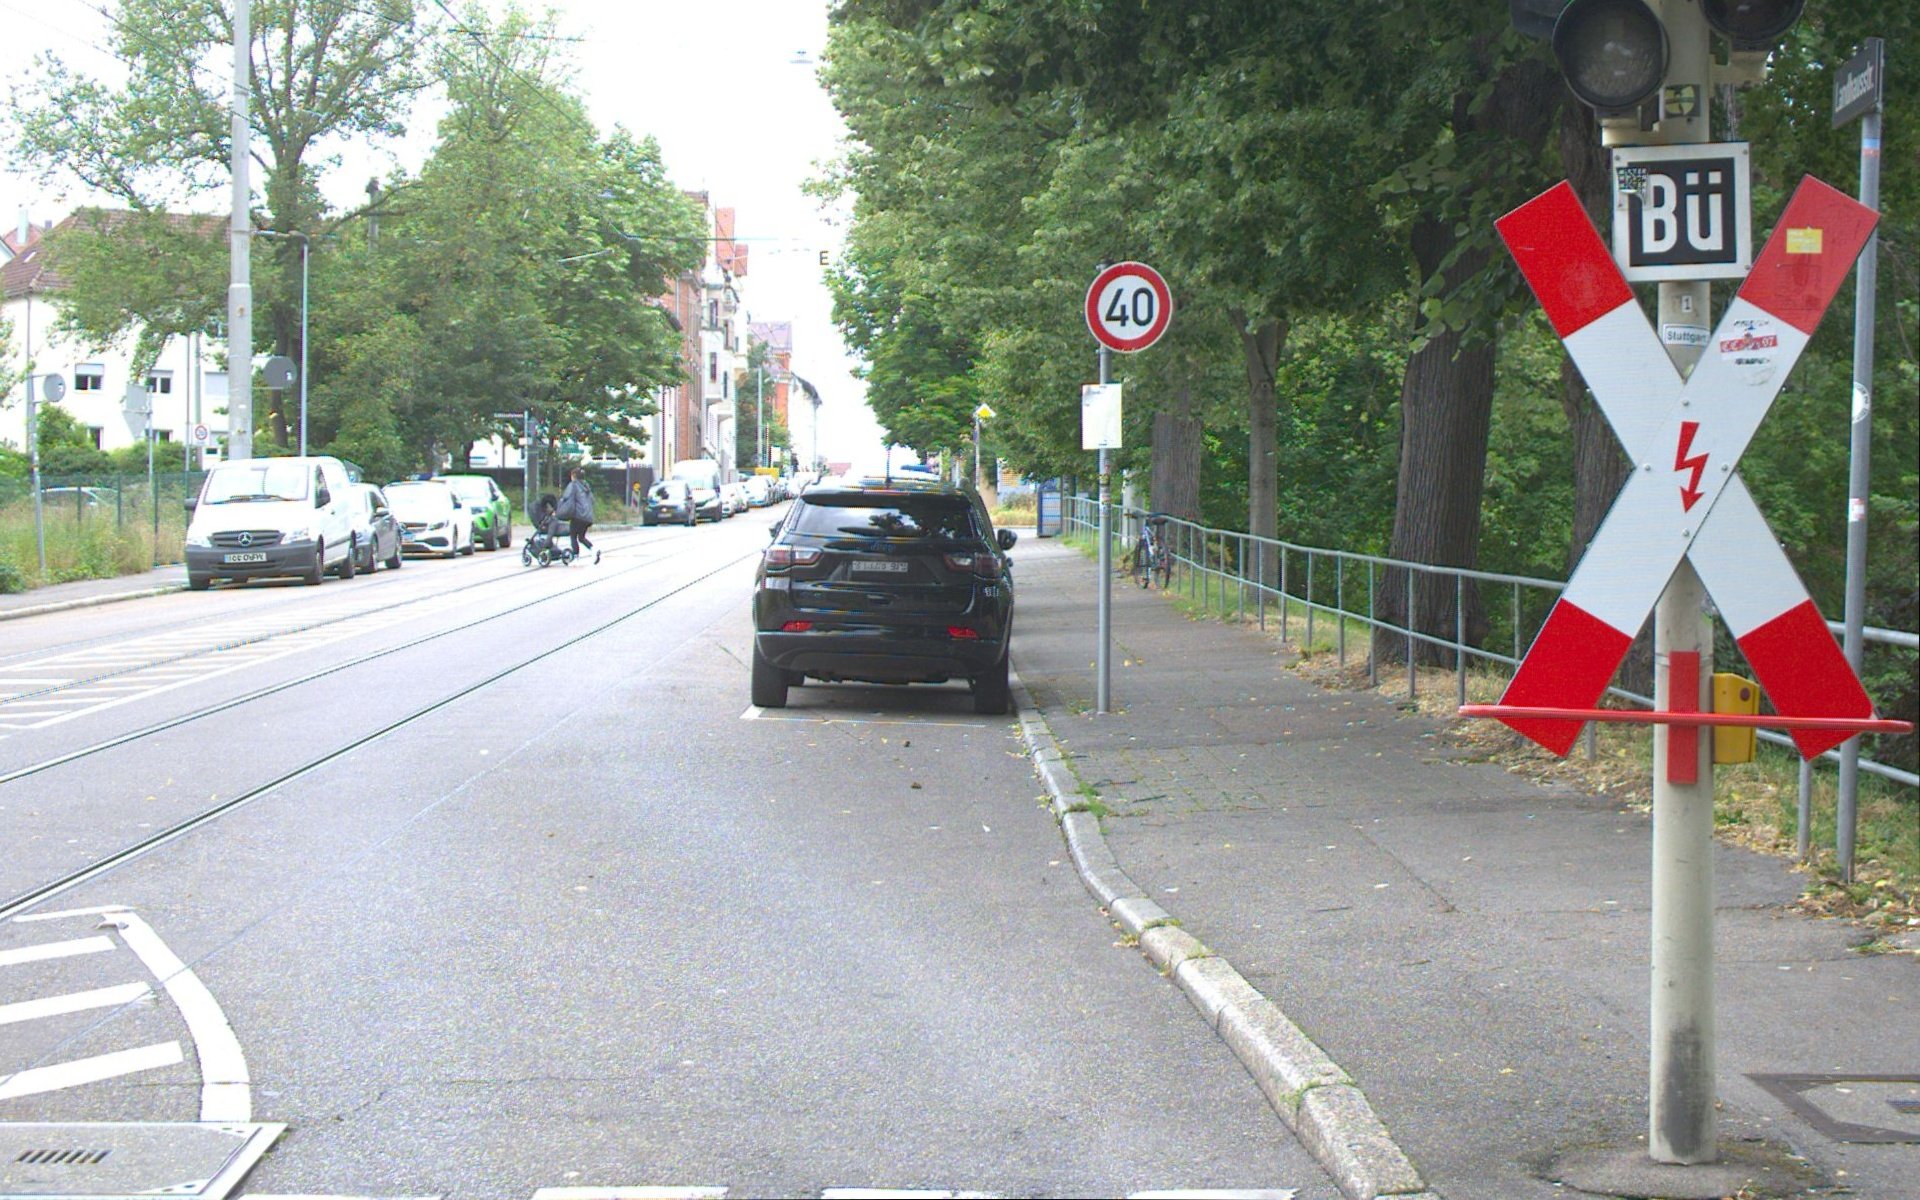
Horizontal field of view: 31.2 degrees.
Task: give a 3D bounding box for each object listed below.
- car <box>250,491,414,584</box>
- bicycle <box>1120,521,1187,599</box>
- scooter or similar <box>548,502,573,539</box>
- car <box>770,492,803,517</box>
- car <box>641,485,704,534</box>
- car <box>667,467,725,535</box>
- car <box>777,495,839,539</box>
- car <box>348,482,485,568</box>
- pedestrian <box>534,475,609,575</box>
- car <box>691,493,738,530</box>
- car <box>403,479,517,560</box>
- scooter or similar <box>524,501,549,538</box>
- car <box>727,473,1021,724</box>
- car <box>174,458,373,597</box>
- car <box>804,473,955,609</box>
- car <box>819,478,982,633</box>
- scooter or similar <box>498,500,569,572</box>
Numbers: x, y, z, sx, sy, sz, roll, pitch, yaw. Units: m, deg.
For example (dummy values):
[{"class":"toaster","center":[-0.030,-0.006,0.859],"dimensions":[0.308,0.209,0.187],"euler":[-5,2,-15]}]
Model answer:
[{"class":"car","center":[-10.230,-1.051,56.321],"dimensions":[1.896,1.428,4.512],"euler":[-1,2,-1]},{"class":"bicycle","center":[2.473,-0.516,43.989],"dimensions":[0.427,0.972,1.795],"euler":[1,1,-10]},{"class":"scooter or similar","center":[-14.660,-2.932,126.254],"dimensions":[0.691,1.334,1.639],"euler":[1,1,1]},{"class":"car","center":[-11.563,-6.357,229.011],"dimensions":[1.993,1.596,4.000],"euler":[1,1,-1]},{"class":"car","center":[-10.951,-3.428,131.186],"dimensions":[1.993,1.802,4.000],"euler":[1,1,1]},{"class":"car","center":[-11.166,-4.163,145.667],"dimensions":[2.230,2.755,5.800],"euler":[1,1,-3]},{"class":"car","center":[-5.249,-2.866,119.355],"dimensions":[1.993,1.493,4.312],"euler":[1,1,-1]},{"class":"car","center":[-10.222,-1.423,64.948],"dimensions":[1.885,1.520,4.664],"euler":[-1,1,-1]},{"class":"pedestrian","center":[-6.408,-1.240,56.709],"dimensions":[0.915,1.623,0.805],"euler":[2,1,37]},{"class":"car","center":[-11.112,-3.991,155.989],"dimensions":[1.993,1.595,4.313],"euler":[1,1,-3]},{"class":"car","center":[-10.213,-1.662,70.450],"dimensions":[1.723,1.574,4.181],"euler":[-1,2,0]},{"class":"scooter or similar","center":[-15.526,-2.946,126.165],"dimensions":[0.691,1.334,1.639],"euler":[1,1,1]},{"class":"car","center":[-0.541,-0.078,25.022],"dimensions":[1.904,1.609,4.600],"euler":[2,2,1]},{"class":"car","center":[-10.090,-1.061,50.892],"dimensions":[2.035,1.875,4.886],"euler":[-2,1,-2]},{"class":"car","center":[-1.042,-0.843,46.779],"dimensions":[1.877,1.672,5.063],"euler":[3,2,0]},{"class":"car","center":[-0.736,-0.572,40.757],"dimensions":[1.726,1.626,4.089],"euler":[4,2,-2]},{"class":"scooter or similar","center":[-7.093,-1.066,57.211],"dimensions":[0.838,1.192,0.805],"euler":[2,1,37]}]
